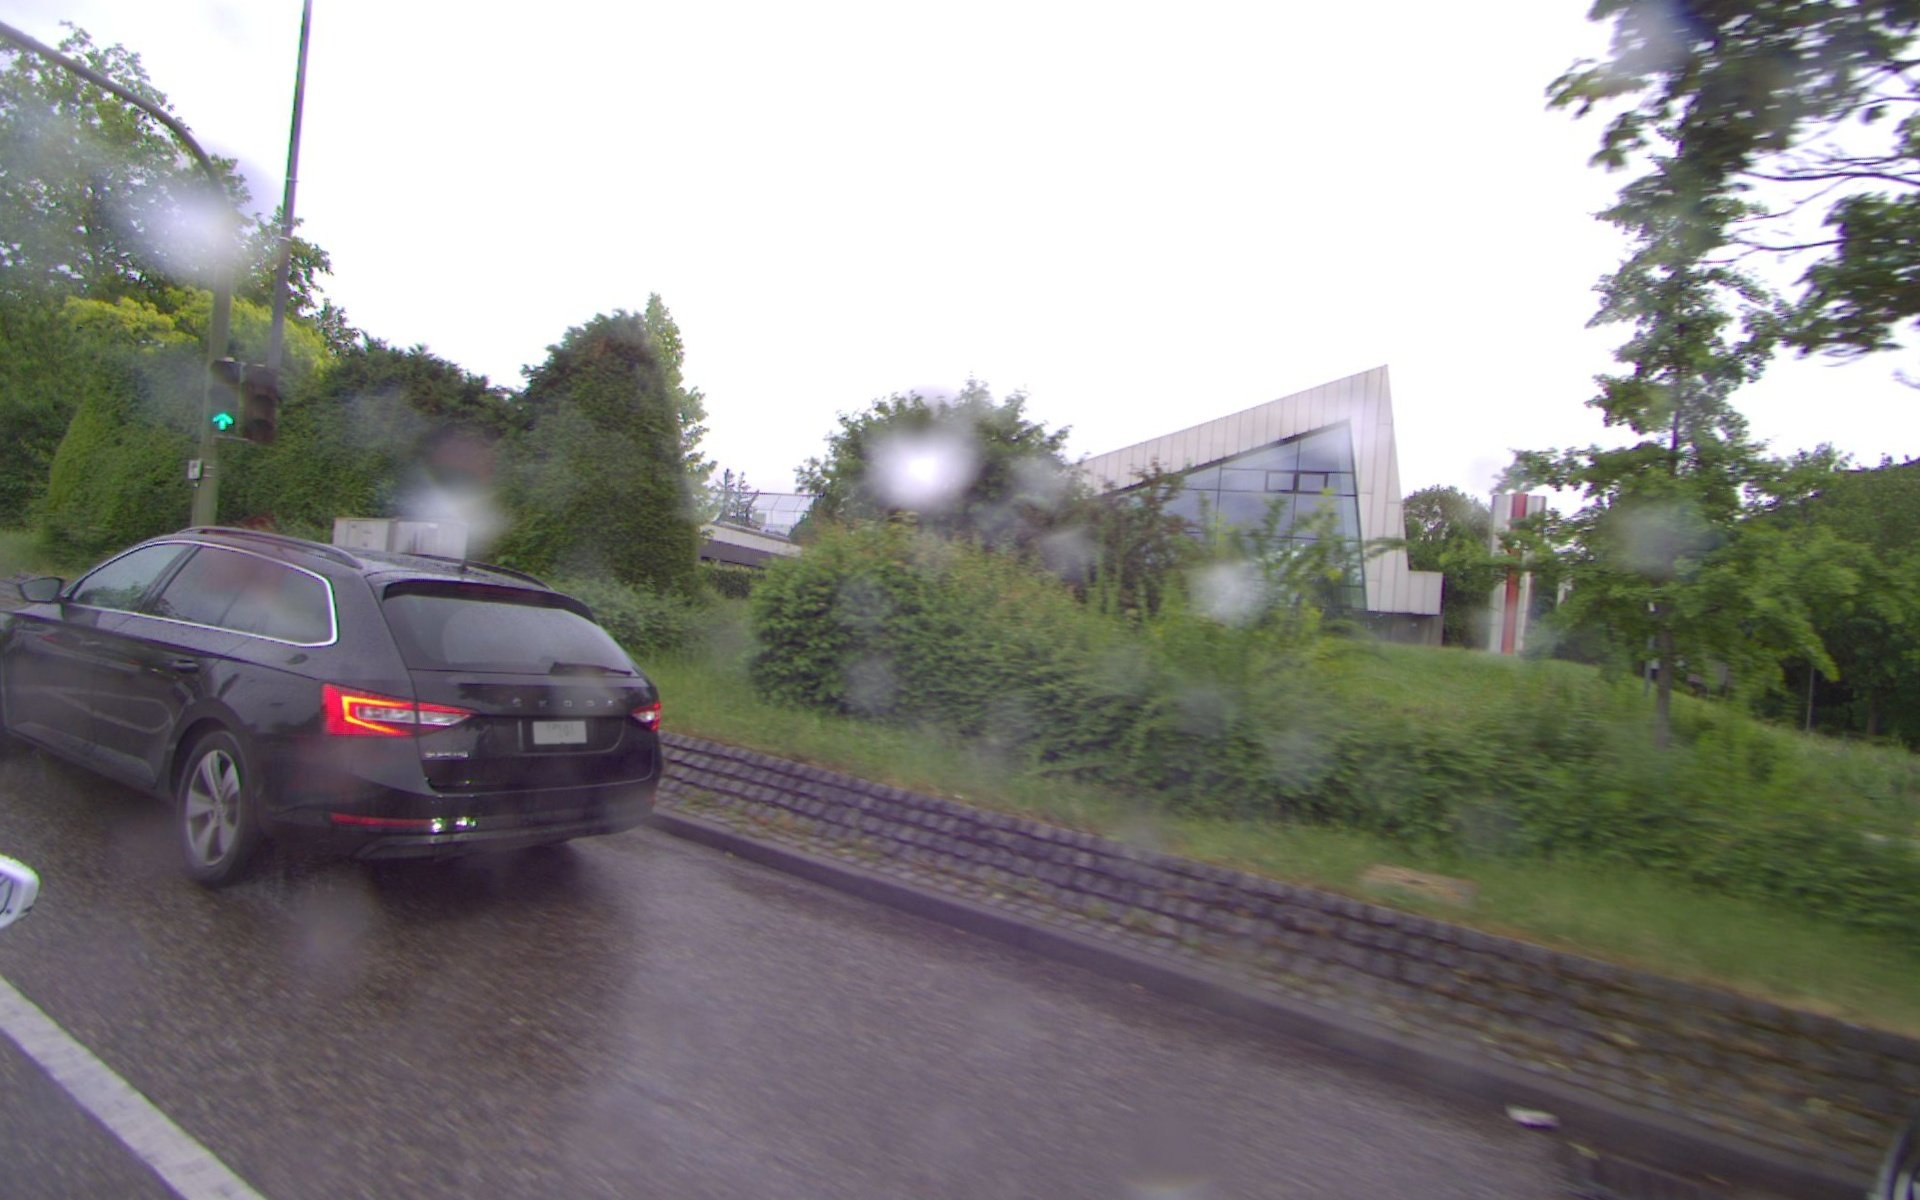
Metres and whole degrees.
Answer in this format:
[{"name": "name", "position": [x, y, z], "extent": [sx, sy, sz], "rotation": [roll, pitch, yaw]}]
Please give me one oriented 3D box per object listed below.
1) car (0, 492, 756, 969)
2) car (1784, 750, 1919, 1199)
[{"name": "car", "position": [-3.540, 0.420, 5.477], "extent": [4.533, 1.524, 1.959], "rotation": [6, -4, 32]}, {"name": "car", "position": [3.916, 1.271, 0.996], "extent": [4.475, 1.460, 1.835], "rotation": [6, -2, 32]}]
